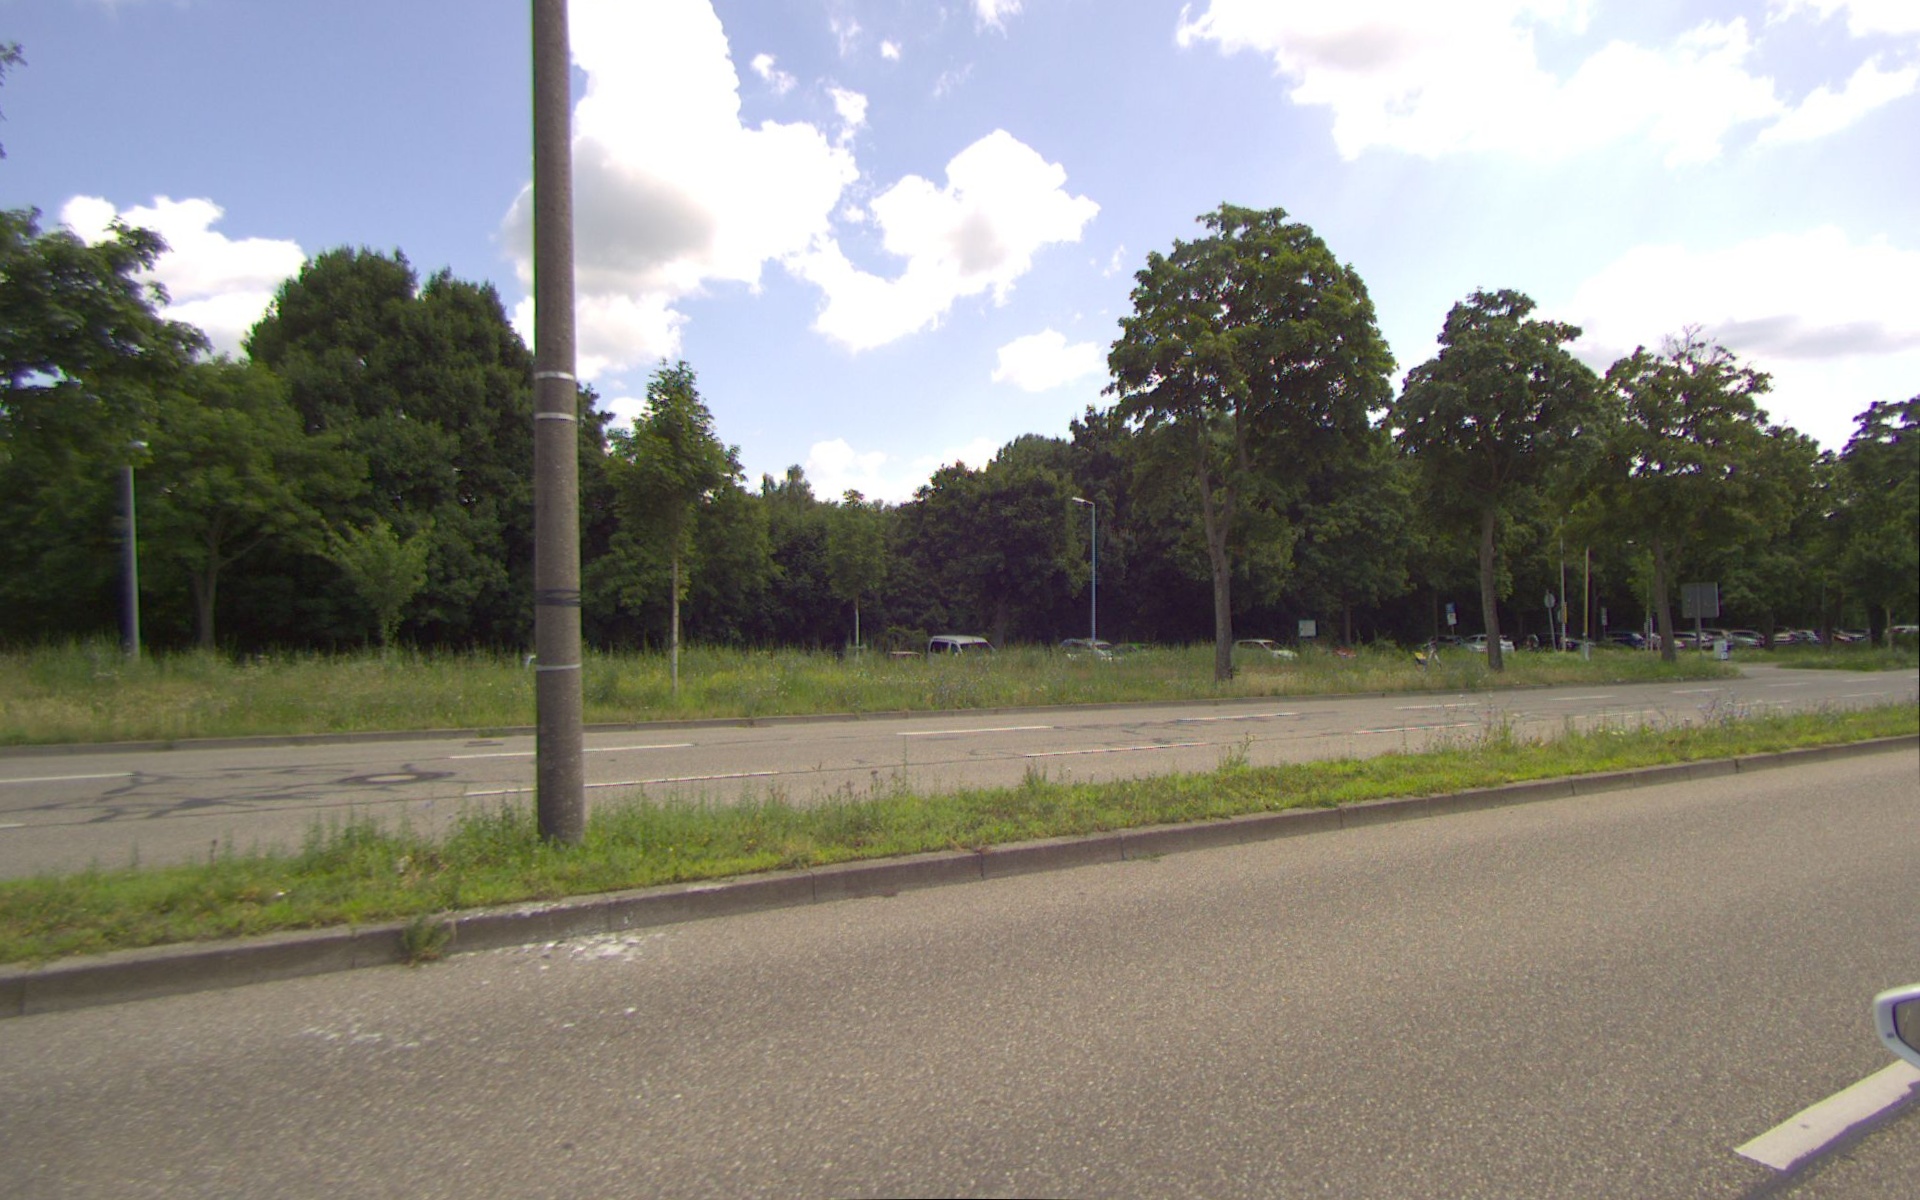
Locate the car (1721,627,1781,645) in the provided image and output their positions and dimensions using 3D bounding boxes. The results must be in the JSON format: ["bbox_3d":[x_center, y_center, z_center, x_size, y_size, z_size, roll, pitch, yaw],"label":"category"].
[{"bbox_3d":[69.546,3.151,88.393,1.762,1.406,3.771,0,0,-27],"label":"car"}]

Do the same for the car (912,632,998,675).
[{"bbox_3d":[-0.286,2.303,43.854,1.978,1.647,3.964,0,0,-32],"label":"car"}]

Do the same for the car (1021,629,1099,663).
[{"bbox_3d":[5.052,2.317,51.346,1.978,1.539,3.964,0,0,-32],"label":"car"}]

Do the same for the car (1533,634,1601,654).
[{"bbox_3d":[43.286,3.140,71.678,1.765,1.264,3.766,0,0,-31],"label":"car"}]

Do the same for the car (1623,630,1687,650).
[{"bbox_3d":[54.340,3.107,78.635,1.762,1.406,3.771,0,0,-27],"label":"car"}]

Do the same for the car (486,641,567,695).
[{"bbox_3d":[-14.951,2.279,34.562,1.978,1.539,3.964,0,0,-32],"label":"car"}]

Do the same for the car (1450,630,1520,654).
[{"bbox_3d":[34.621,2.740,66.342,1.765,1.447,3.766,0,0,-31],"label":"car"}]

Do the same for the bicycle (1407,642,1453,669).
[{"bbox_3d":[17.369,2.040,37.115,1.896,0.991,0.564,1,-2,-32],"label":"bicycle"}]

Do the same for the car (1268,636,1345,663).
[{"bbox_3d":[18.747,2.642,54.515,1.764,1.284,3.768,0,0,-29],"label":"car"}]

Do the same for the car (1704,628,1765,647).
[{"bbox_3d":[66.126,3.185,85.826,1.762,1.406,3.771,0,0,-27],"label":"car"}]

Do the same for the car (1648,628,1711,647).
[{"bbox_3d":[58.036,3.002,81.076,1.762,1.406,3.771,0,0,-27],"label":"car"}]

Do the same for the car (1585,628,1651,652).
[{"bbox_3d":[49.569,2.988,75.743,1.762,1.589,3.771,0,0,-27],"label":"car"}]

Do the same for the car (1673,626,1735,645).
[{"bbox_3d":[62.276,2.938,84.134,1.762,1.406,3.771,0,0,-27],"label":"car"}]

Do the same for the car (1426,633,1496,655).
[{"bbox_3d":[32.463,2.808,65.144,1.764,1.264,3.768,0,0,-29],"label":"car"}]

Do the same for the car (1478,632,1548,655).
[{"bbox_3d":[37.271,2.913,67.780,1.765,1.405,3.766,0,0,-31],"label":"car"}]

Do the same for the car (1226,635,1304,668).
[{"bbox_3d":[16.060,2.688,53.031,1.764,1.528,3.768,0,0,-29],"label":"car"}]

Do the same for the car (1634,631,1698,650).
[{"bbox_3d":[56.151,3.214,79.945,1.762,1.406,3.771,0,0,-27],"label":"car"}]

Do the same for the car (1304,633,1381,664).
[{"bbox_3d":[21.299,2.666,56.034,1.764,1.528,3.768,0,0,-29],"label":"car"}]
